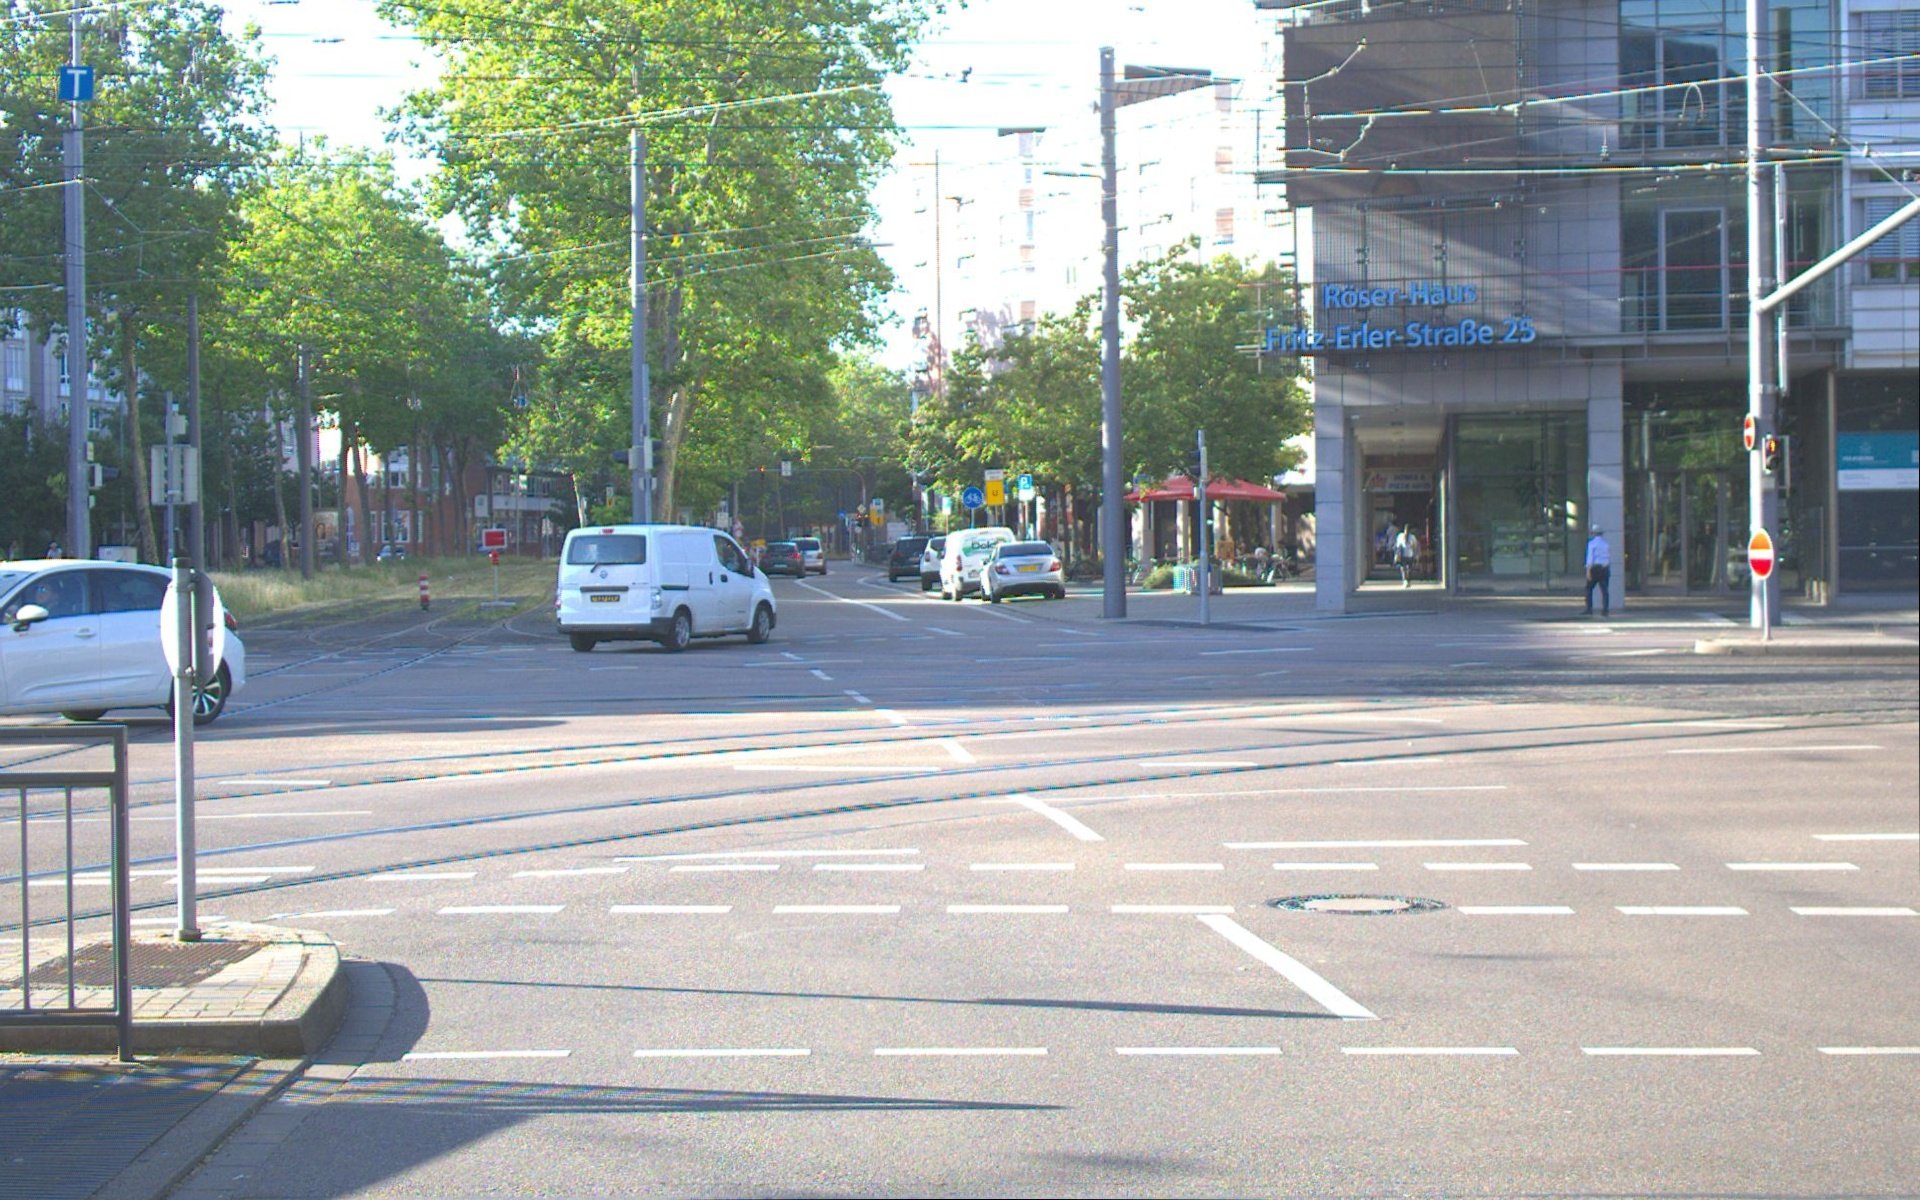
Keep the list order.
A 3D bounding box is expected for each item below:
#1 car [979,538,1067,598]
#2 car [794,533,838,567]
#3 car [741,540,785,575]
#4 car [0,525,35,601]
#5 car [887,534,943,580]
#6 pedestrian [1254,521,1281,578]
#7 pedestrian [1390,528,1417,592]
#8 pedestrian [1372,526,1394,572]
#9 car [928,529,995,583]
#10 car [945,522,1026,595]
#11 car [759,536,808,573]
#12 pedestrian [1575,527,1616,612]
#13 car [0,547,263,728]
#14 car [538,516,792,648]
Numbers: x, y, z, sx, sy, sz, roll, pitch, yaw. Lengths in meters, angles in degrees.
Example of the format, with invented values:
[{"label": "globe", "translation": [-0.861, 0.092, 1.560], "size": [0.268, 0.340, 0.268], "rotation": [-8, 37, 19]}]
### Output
[{"label": "car", "translation": [1.490, -0.785, 82.776], "size": [1.993, 1.371, 4.000], "rotation": [-1, 1, -1]}, {"label": "car", "translation": [-6.305, -2.209, 150.709], "size": [1.797, 1.437, 4.000], "rotation": [-1, 1, -1]}, {"label": "car", "translation": [-8.422, -1.803, 146.928], "size": [1.797, 1.437, 4.000], "rotation": [1, 1, -2]}, {"label": "car", "translation": [-21.668, -0.802, 74.924], "size": [1.993, 1.634, 4.000], "rotation": [-1, 1, -1]}, {"label": "car", "translation": [-1.645, -1.596, 126.667], "size": [1.993, 1.612, 4.000], "rotation": [-1, 1, 0]}, {"label": "pedestrian", "translation": [9.393, -1.543, 104.993], "size": [0.744, 1.708, 0.612], "rotation": [-1, 1, -1]}, {"label": "pedestrian", "translation": [10.584, -0.960, 82.007], "size": [0.612, 1.502, 0.579], "rotation": [-1, 1, 7]}, {"label": "pedestrian", "translation": [15.914, -1.932, 129.393], "size": [0.744, 1.708, 0.612], "rotation": [-1, 1, -1]}, {"label": "car", "translation": [0.033, -1.358, 105.217], "size": [1.993, 1.612, 4.000], "rotation": [-1, 1, 0]}, {"label": "car", "translation": [0.646, -1.095, 89.571], "size": [1.993, 1.853, 4.000], "rotation": [-1, 1, -1]}, {"label": "car", "translation": [-7.072, -1.822, 137.955], "size": [1.797, 1.437, 4.000], "rotation": [-1, 1, -1]}, {"label": "pedestrian", "translation": [11.343, -0.541, 61.336], "size": [0.612, 1.502, 0.579], "rotation": [-1, 1, 0]}, {"label": "car", "translation": [-8.302, 0.314, 29.943], "size": [1.759, 1.483, 4.300], "rotation": [0, 1, 36]}, {"label": "car", "translation": [-4.328, -0.302, 51.108], "size": [1.758, 1.860, 4.520], "rotation": [0, 1, 24]}]
